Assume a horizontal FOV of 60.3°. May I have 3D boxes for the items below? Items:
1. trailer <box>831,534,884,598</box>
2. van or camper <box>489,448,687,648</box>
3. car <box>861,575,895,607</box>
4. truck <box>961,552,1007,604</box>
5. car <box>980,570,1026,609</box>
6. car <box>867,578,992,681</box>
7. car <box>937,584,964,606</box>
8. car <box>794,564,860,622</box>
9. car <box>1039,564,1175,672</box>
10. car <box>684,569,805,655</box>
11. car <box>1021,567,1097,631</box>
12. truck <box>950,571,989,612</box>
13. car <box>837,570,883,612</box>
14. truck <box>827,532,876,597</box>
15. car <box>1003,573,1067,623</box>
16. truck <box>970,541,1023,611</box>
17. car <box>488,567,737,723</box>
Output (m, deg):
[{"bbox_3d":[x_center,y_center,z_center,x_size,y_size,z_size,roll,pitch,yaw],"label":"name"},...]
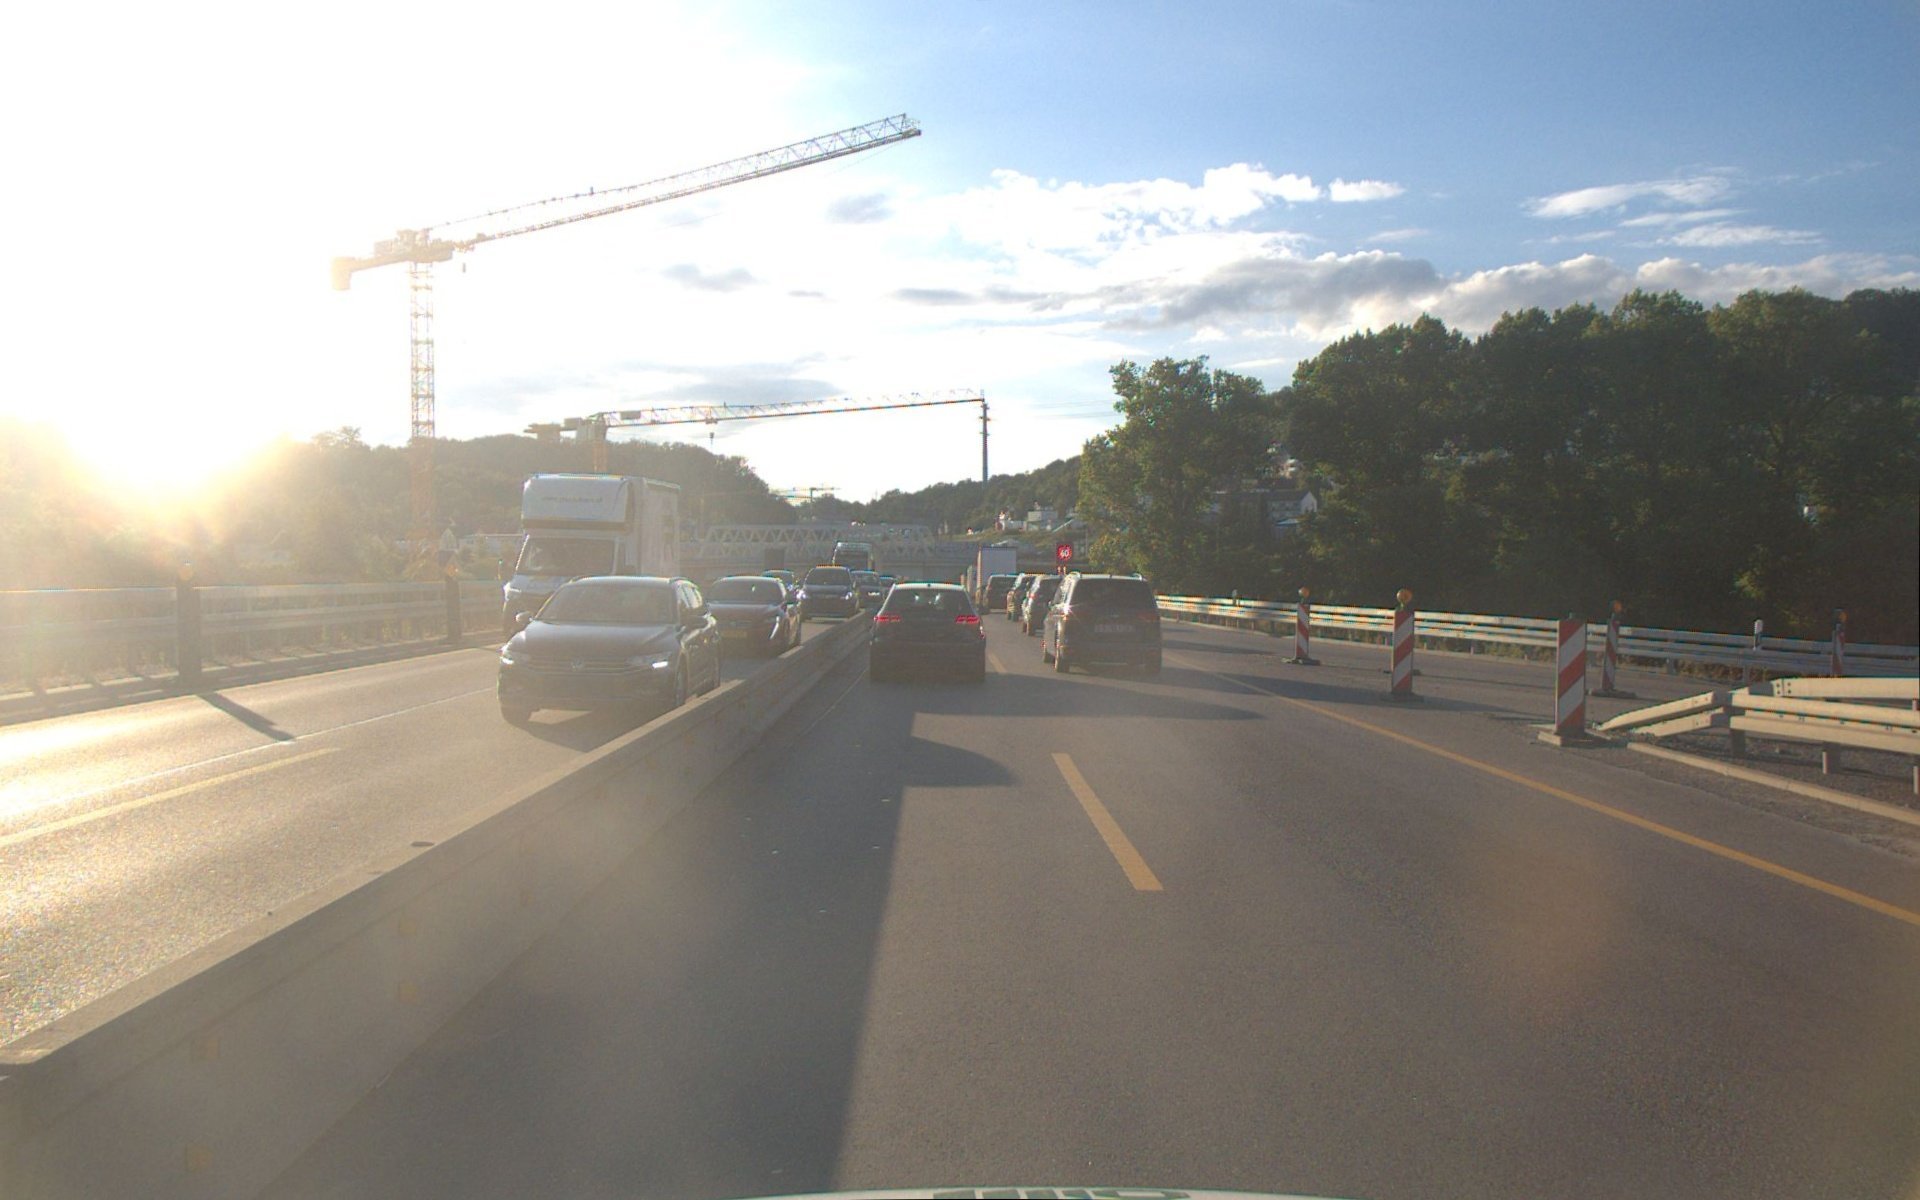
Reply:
[{"bbox_3d":[-6.973,-2.272,114.733,2.756,4.121,14.021,0,0,0],"label":"trailer"},{"bbox_3d":[-7.277,-0.981,33.363,2.408,3.559,7.412,1,1,-1],"label":"van or camper"},{"bbox_3d":[-4.245,-0.461,85.968,1.731,1.561,3.998,1,0,-2],"label":"car"},{"bbox_3d":[2.136,-2.060,155.088,3.811,4.576,15.265,1,1,-1],"label":"truck"},{"bbox_3d":[1.875,-0.453,73.028,1.778,1.661,4.410,1,0,-1],"label":"car"},{"bbox_3d":[-0.507,0.391,25.376,1.734,1.414,3.999,1,1,-2],"label":"car"},{"bbox_3d":[-0.657,-0.330,116.068,1.825,1.445,3.999,2,0,-1],"label":"car"},{"bbox_3d":[-4.043,-0.241,50.765,1.790,1.668,4.528,0,1,-2],"label":"car"},{"bbox_3d":[2.452,0.242,28.687,1.776,1.643,4.525,3,1,-2],"label":"car"},{"bbox_3d":[-4.019,0.178,31.521,1.779,1.488,4.705,1,1,-1],"label":"car"},{"bbox_3d":[2.598,-0.044,44.238,1.738,1.613,4.134,1,0,0],"label":"car"},{"bbox_3d":[1.058,-1.101,199.029,3.813,4.576,13.841,1,1,-3],"label":"truck"},{"bbox_3d":[-3.991,-0.354,66.707,1.708,1.611,4.704,1,0,-2],"label":"car"},{"bbox_3d":[-7.012,-2.246,107.854,2.756,4.119,5.672,0,0,0],"label":"truck"},{"bbox_3d":[2.521,-0.040,56.822,1.837,1.627,4.964,0,0,-2],"label":"car"},{"bbox_3d":[2.495,-1.845,118.468,3.316,4.576,15.268,1,2,0],"label":"truck"},{"bbox_3d":[-3.661,0.401,18.276,1.778,1.488,4.705,1,1,-1],"label":"car"}]
